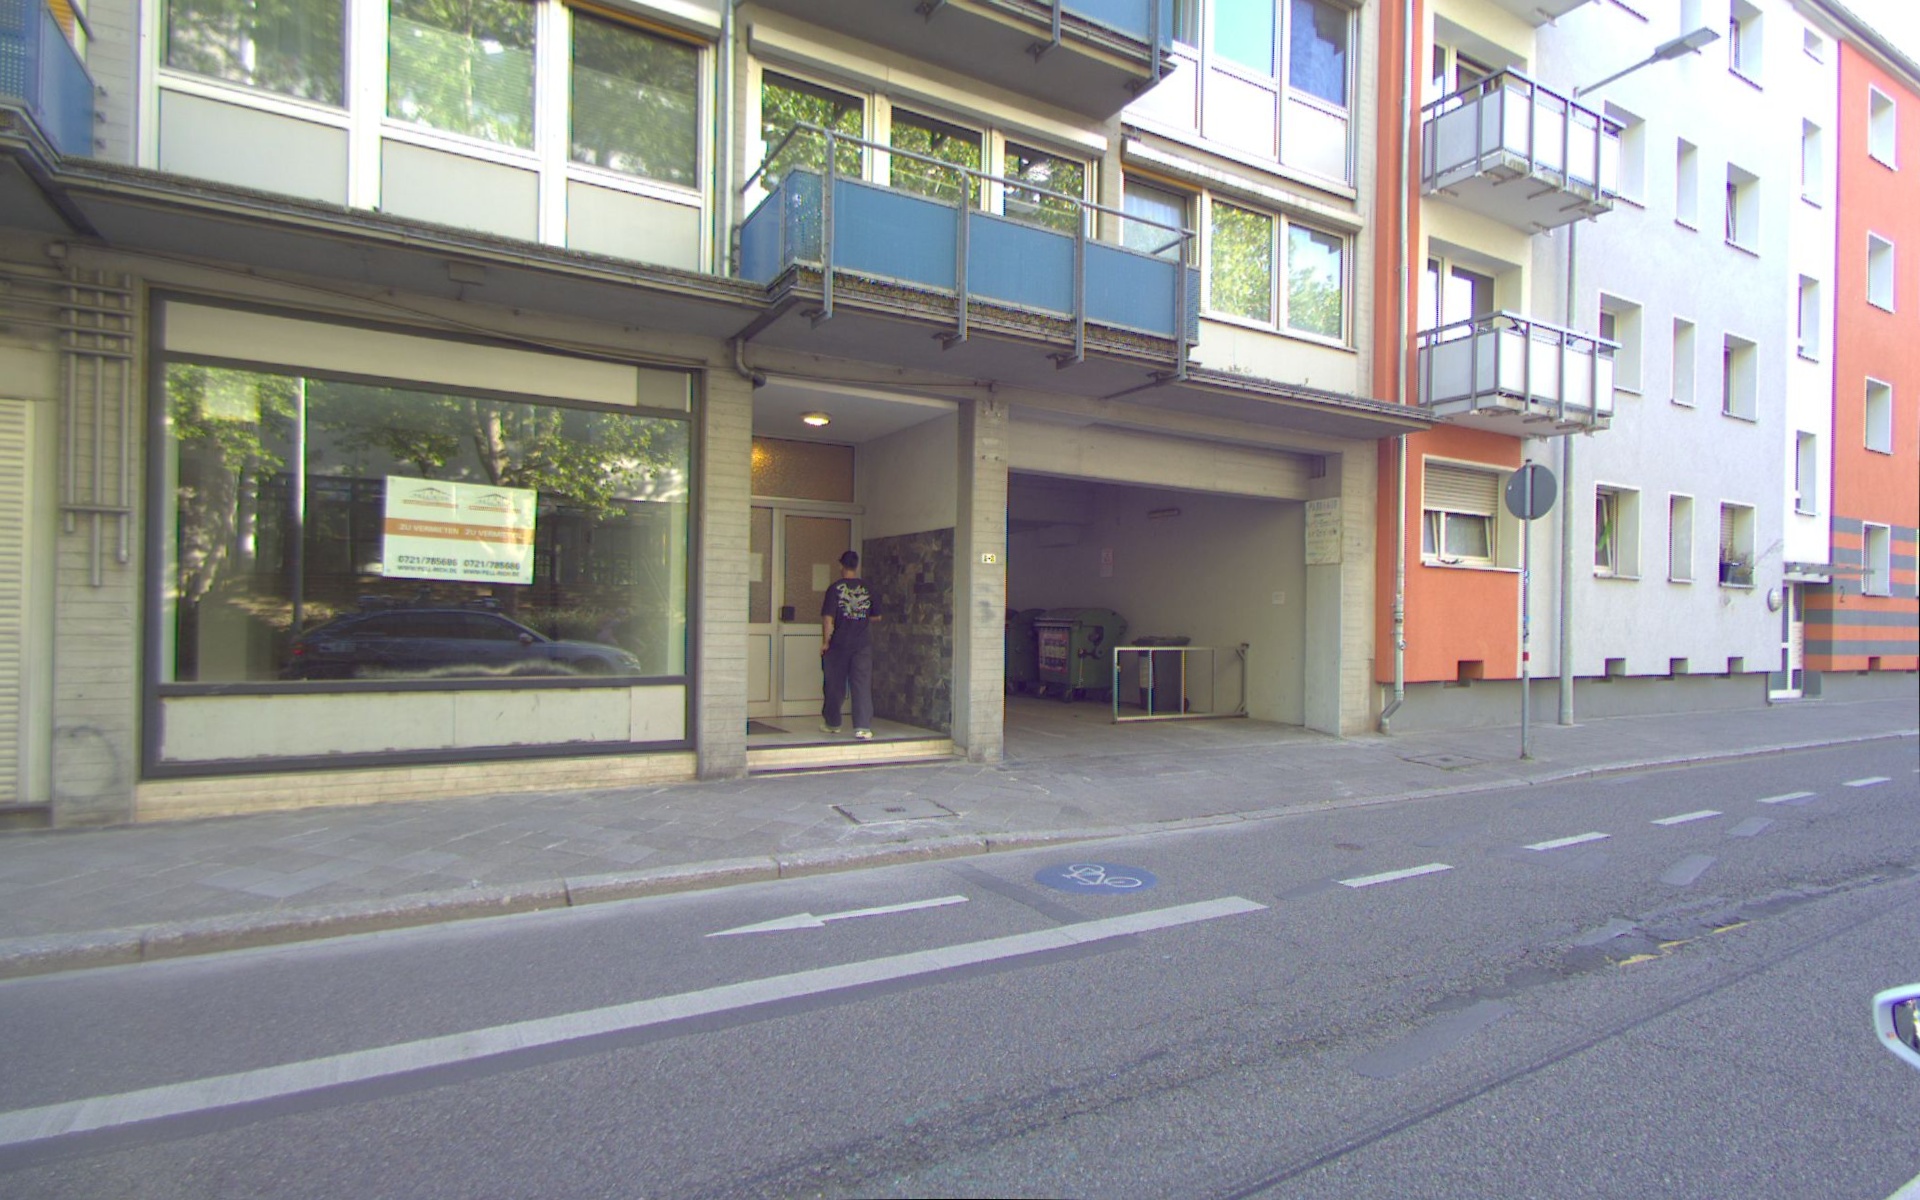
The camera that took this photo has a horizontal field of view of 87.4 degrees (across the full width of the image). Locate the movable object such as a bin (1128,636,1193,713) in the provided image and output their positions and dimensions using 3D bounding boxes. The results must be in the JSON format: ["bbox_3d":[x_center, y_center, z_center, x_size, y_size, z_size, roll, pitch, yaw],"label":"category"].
[{"bbox_3d":[2.888,1.061,14.480,0.704,1.054,0.583,1,0,-30],"label":"movable object such as a bin"}]

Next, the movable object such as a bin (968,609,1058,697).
[{"bbox_3d":[0.891,0.878,17.161,1.011,1.409,1.319,1,0,-27],"label":"movable object such as a bin"}]

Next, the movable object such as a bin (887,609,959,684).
[{"bbox_3d":[-0.735,0.890,19.682,1.012,1.409,1.046,1,0,-31],"label":"movable object such as a bin"}]

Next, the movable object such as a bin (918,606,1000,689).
[{"bbox_3d":[-0.032,0.858,18.664,1.011,1.462,1.318,1,0,-29],"label":"movable object such as a bin"}]

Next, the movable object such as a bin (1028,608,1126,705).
[{"bbox_3d":[1.826,0.863,15.834,1.009,1.438,1.321,1,0,-23],"label":"movable object such as a bin"}]

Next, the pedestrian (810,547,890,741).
[{"bbox_3d":[-1.046,0.410,9.520,0.621,1.764,0.525,1,0,-20],"label":"pedestrian"}]

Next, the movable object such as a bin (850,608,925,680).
[{"bbox_3d":[-1.497,0.877,20.655,1.014,1.409,1.264,1,0,-37],"label":"movable object such as a bin"}]
